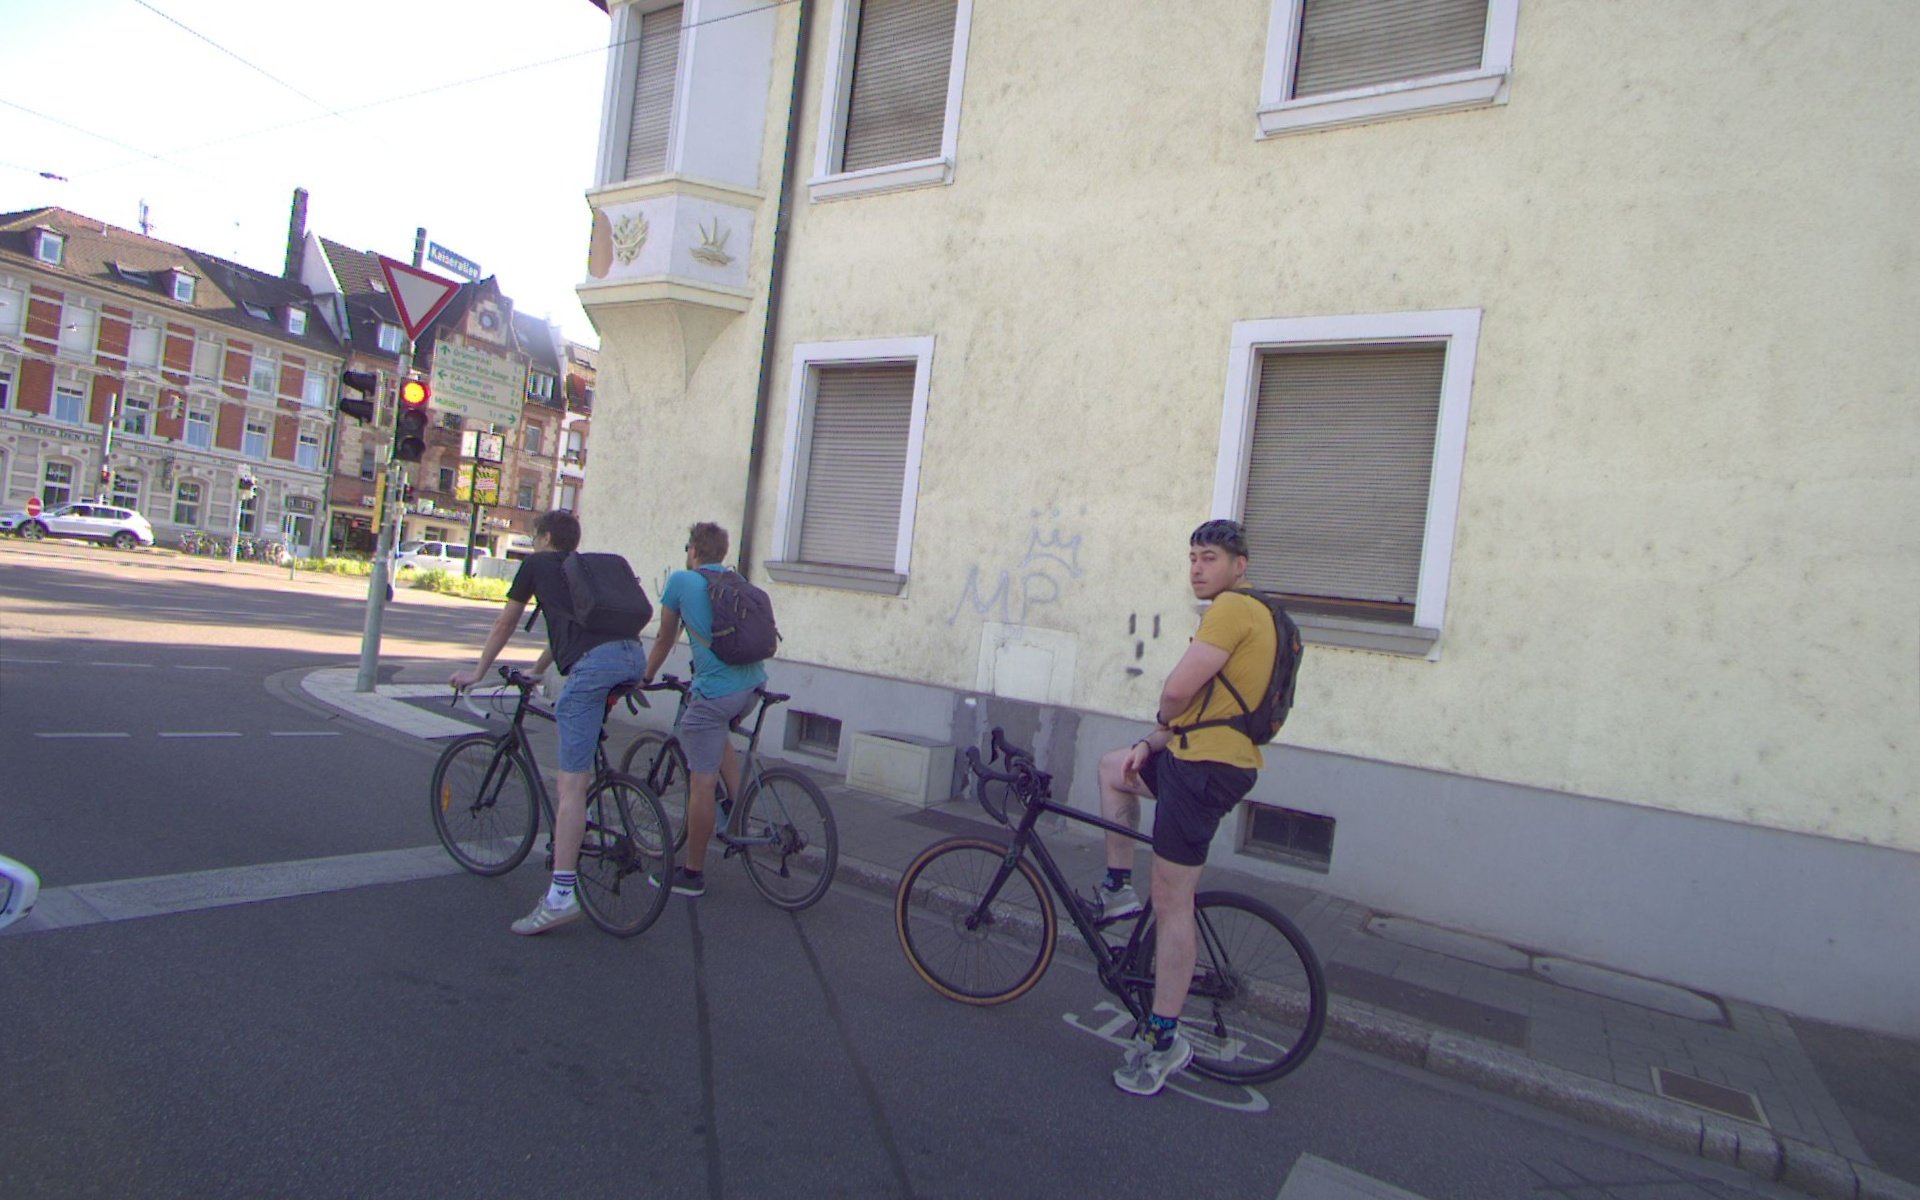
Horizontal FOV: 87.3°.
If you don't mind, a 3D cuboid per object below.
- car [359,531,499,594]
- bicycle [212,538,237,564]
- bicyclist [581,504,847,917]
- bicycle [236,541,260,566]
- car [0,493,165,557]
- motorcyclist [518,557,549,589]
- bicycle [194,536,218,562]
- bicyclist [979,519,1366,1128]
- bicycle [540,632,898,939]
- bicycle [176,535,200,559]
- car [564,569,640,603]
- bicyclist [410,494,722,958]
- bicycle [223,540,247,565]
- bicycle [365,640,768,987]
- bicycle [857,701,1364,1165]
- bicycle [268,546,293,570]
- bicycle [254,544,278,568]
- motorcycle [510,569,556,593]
[{"bbox_3d":[-23.267,-1.609,44.263,1.967,2.037,4.988,7,-1,31],"label":"car"},{"bbox_3d":[-34.187,-2.289,46.748,1.759,1.033,0.485,7,0,42],"label":"bicycle"},{"bbox_3d":[-1.285,0.525,5.271,0.978,1.910,0.652,7,0,32],"label":"bicyclist"},{"bbox_3d":[-33.673,-2.189,47.563,1.759,1.033,0.485,7,0,42],"label":"bicycle"},{"bbox_3d":[-33.705,-2.848,38.325,1.966,1.673,4.864,7,-1,30],"label":"car"},{"bbox_3d":[-20.469,-1.272,48.281,0.732,1.371,1.004,7,0,32],"label":"motorcyclist"},{"bbox_3d":[-34.639,-2.338,46.202,1.759,1.033,0.485,7,0,42],"label":"bicycle"},{"bbox_3d":[0.773,0.698,3.657,1.019,1.839,0.652,7,0,32],"label":"bicyclist"},{"bbox_3d":[-1.308,0.879,5.281,1.858,1.180,0.571,7,0,32],"label":"bicycle"},{"bbox_3d":[-35.064,-2.411,45.665,1.759,0.925,0.485,7,0,42],"label":"bicycle"},{"bbox_3d":[-23.172,-0.880,65.230,1.966,1.641,4.261,7,-1,29],"label":"car"},{"bbox_3d":[-1.749,0.493,4.470,0.978,1.788,0.652,7,0,32],"label":"bicyclist"},{"bbox_3d":[-34.001,-2.248,47.171,1.759,1.033,0.485,7,0,42],"label":"bicycle"},{"bbox_3d":[-1.797,0.836,4.468,1.858,1.071,0.571,7,0,32],"label":"bicycle"},{"bbox_3d":[0.514,1.092,3.773,1.670,1.180,0.571,7,0,32],"label":"bicycle"},{"bbox_3d":[-33.090,-2.055,48.979,1.759,1.033,0.485,7,0,42],"label":"bicycle"},{"bbox_3d":[-33.310,-2.112,48.291,1.759,1.033,0.485,7,0,42],"label":"bicycle"},{"bbox_3d":[-20.477,-0.903,48.280,0.552,0.908,2.043,7,-1,31],"label":"motorcycle"}]
